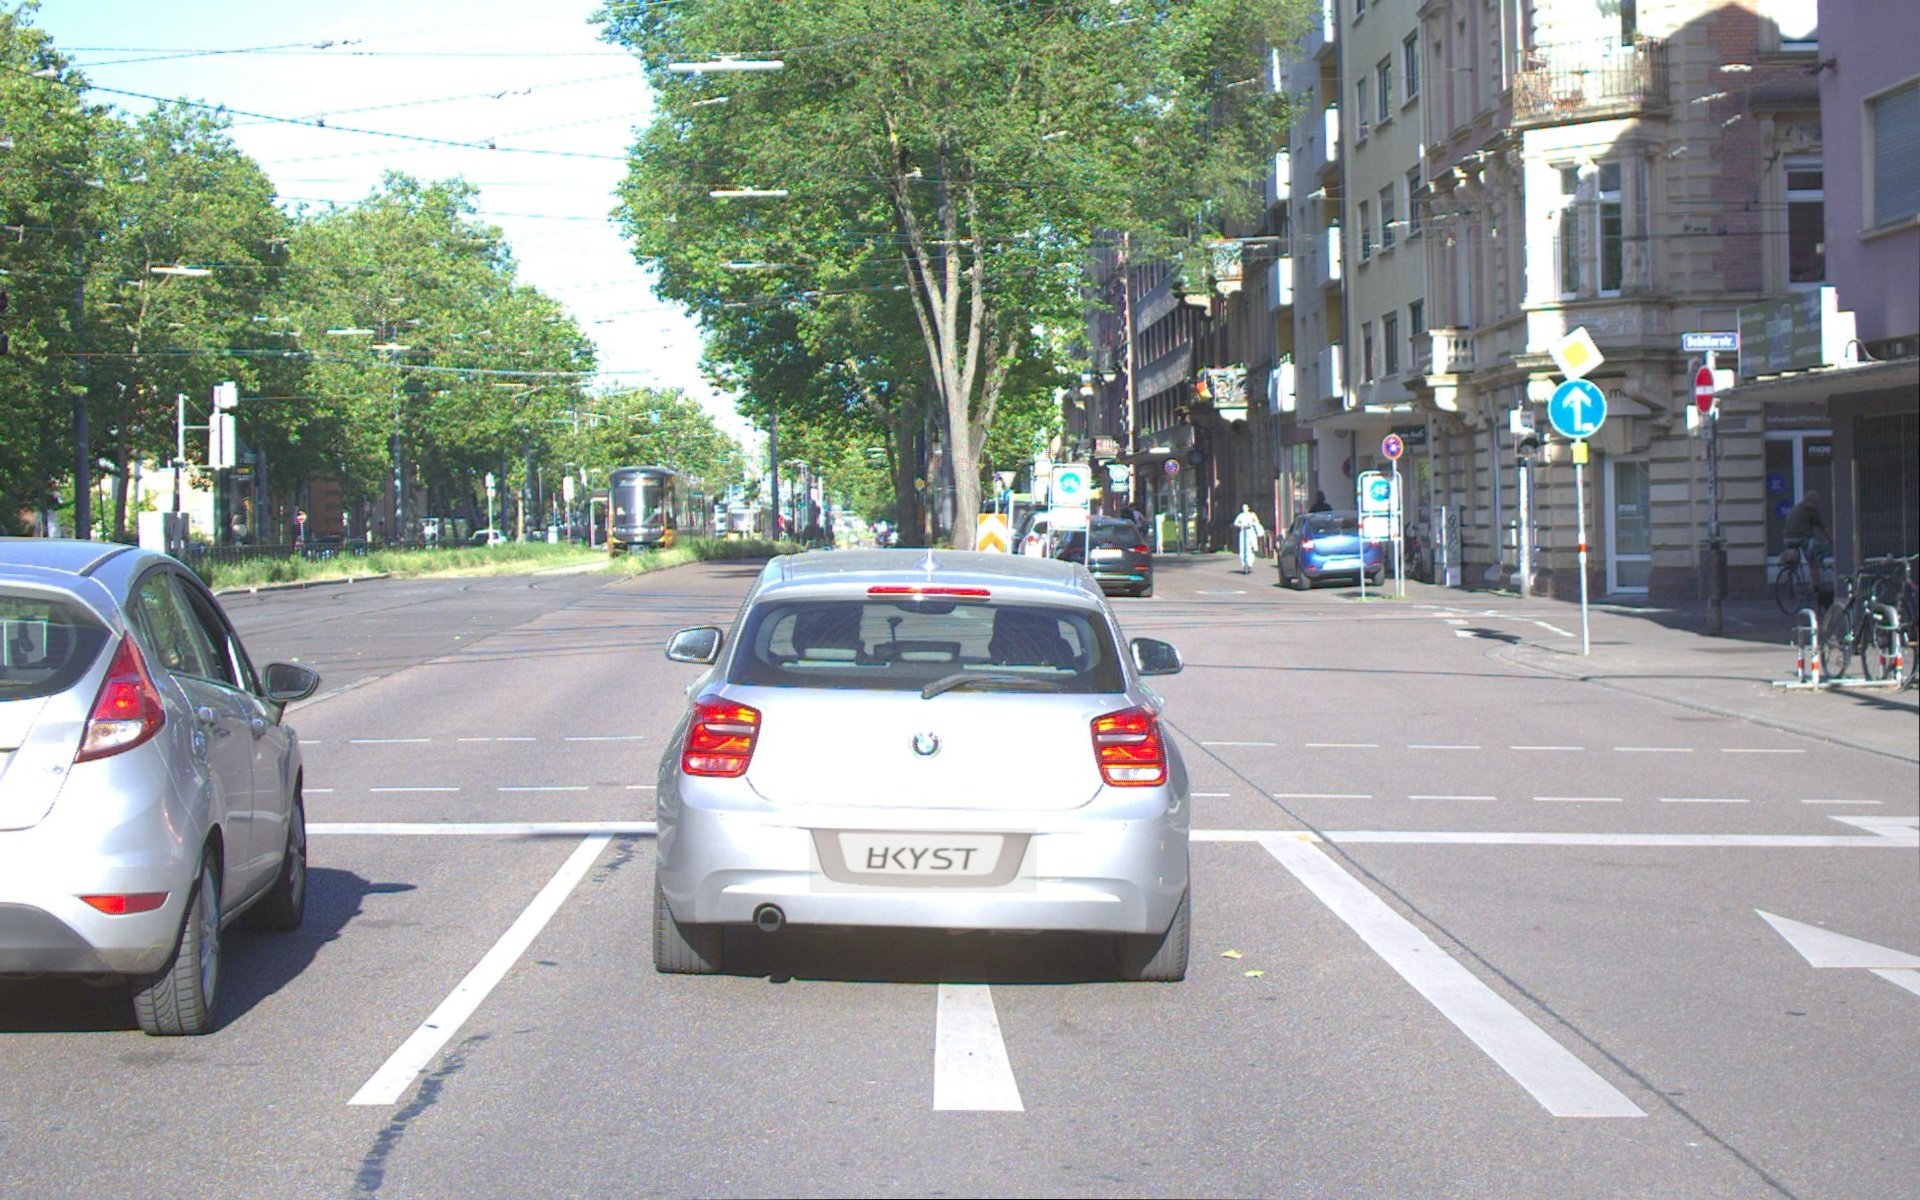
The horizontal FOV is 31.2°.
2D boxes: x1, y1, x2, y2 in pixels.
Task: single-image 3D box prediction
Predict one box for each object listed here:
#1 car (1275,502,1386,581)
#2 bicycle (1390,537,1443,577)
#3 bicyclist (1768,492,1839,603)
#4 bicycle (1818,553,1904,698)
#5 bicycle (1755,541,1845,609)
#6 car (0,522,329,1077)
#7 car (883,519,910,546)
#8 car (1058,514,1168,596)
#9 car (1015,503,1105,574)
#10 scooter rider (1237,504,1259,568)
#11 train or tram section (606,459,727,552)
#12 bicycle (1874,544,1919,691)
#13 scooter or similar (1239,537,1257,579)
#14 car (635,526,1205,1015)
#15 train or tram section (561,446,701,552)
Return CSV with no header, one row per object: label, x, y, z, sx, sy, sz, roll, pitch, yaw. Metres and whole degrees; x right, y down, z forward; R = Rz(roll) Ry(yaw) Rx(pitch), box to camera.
car,7.403,-1.192,68.973,1.735,1.514,3.637,0,2,-1
bicycle,9.204,-0.872,69.377,0.754,0.768,1.946,-1,2,-2
bicyclist,11.537,-0.726,47.002,0.548,1.496,0.959,0,2,41
bicycle,7.444,0.192,28.447,0.414,1.137,1.809,0,2,6
bicycle,11.487,-0.346,46.981,0.654,0.900,1.335,1,2,41
car,-3.054,0.498,11.116,1.609,1.462,3.891,-1,2,-5
car,-4.809,-5.137,260.488,1.993,2.006,4.000,-1,2,0
car,2.789,-0.848,63.274,1.735,1.428,3.678,0,2,-2
car,2.145,-1.351,74.579,1.724,1.501,3.555,0,2,-2
scooter rider,6.869,-1.519,81.908,0.465,1.500,0.811,0,1,8
train or tram section,-12.909,-4.220,153.164,4.005,3.852,17.490,0,2,0
bicycle,7.943,0.126,28.442,0.448,1.155,1.758,-1,2,5
scooter or similar,6.870,-1.010,81.982,0.337,0.984,1.284,0,2,8
car,-0.150,0.487,12.625,1.740,1.462,4.000,1,2,-1
train or tram section,-12.789,-3.969,135.596,3.969,3.852,17.490,0,2,0
